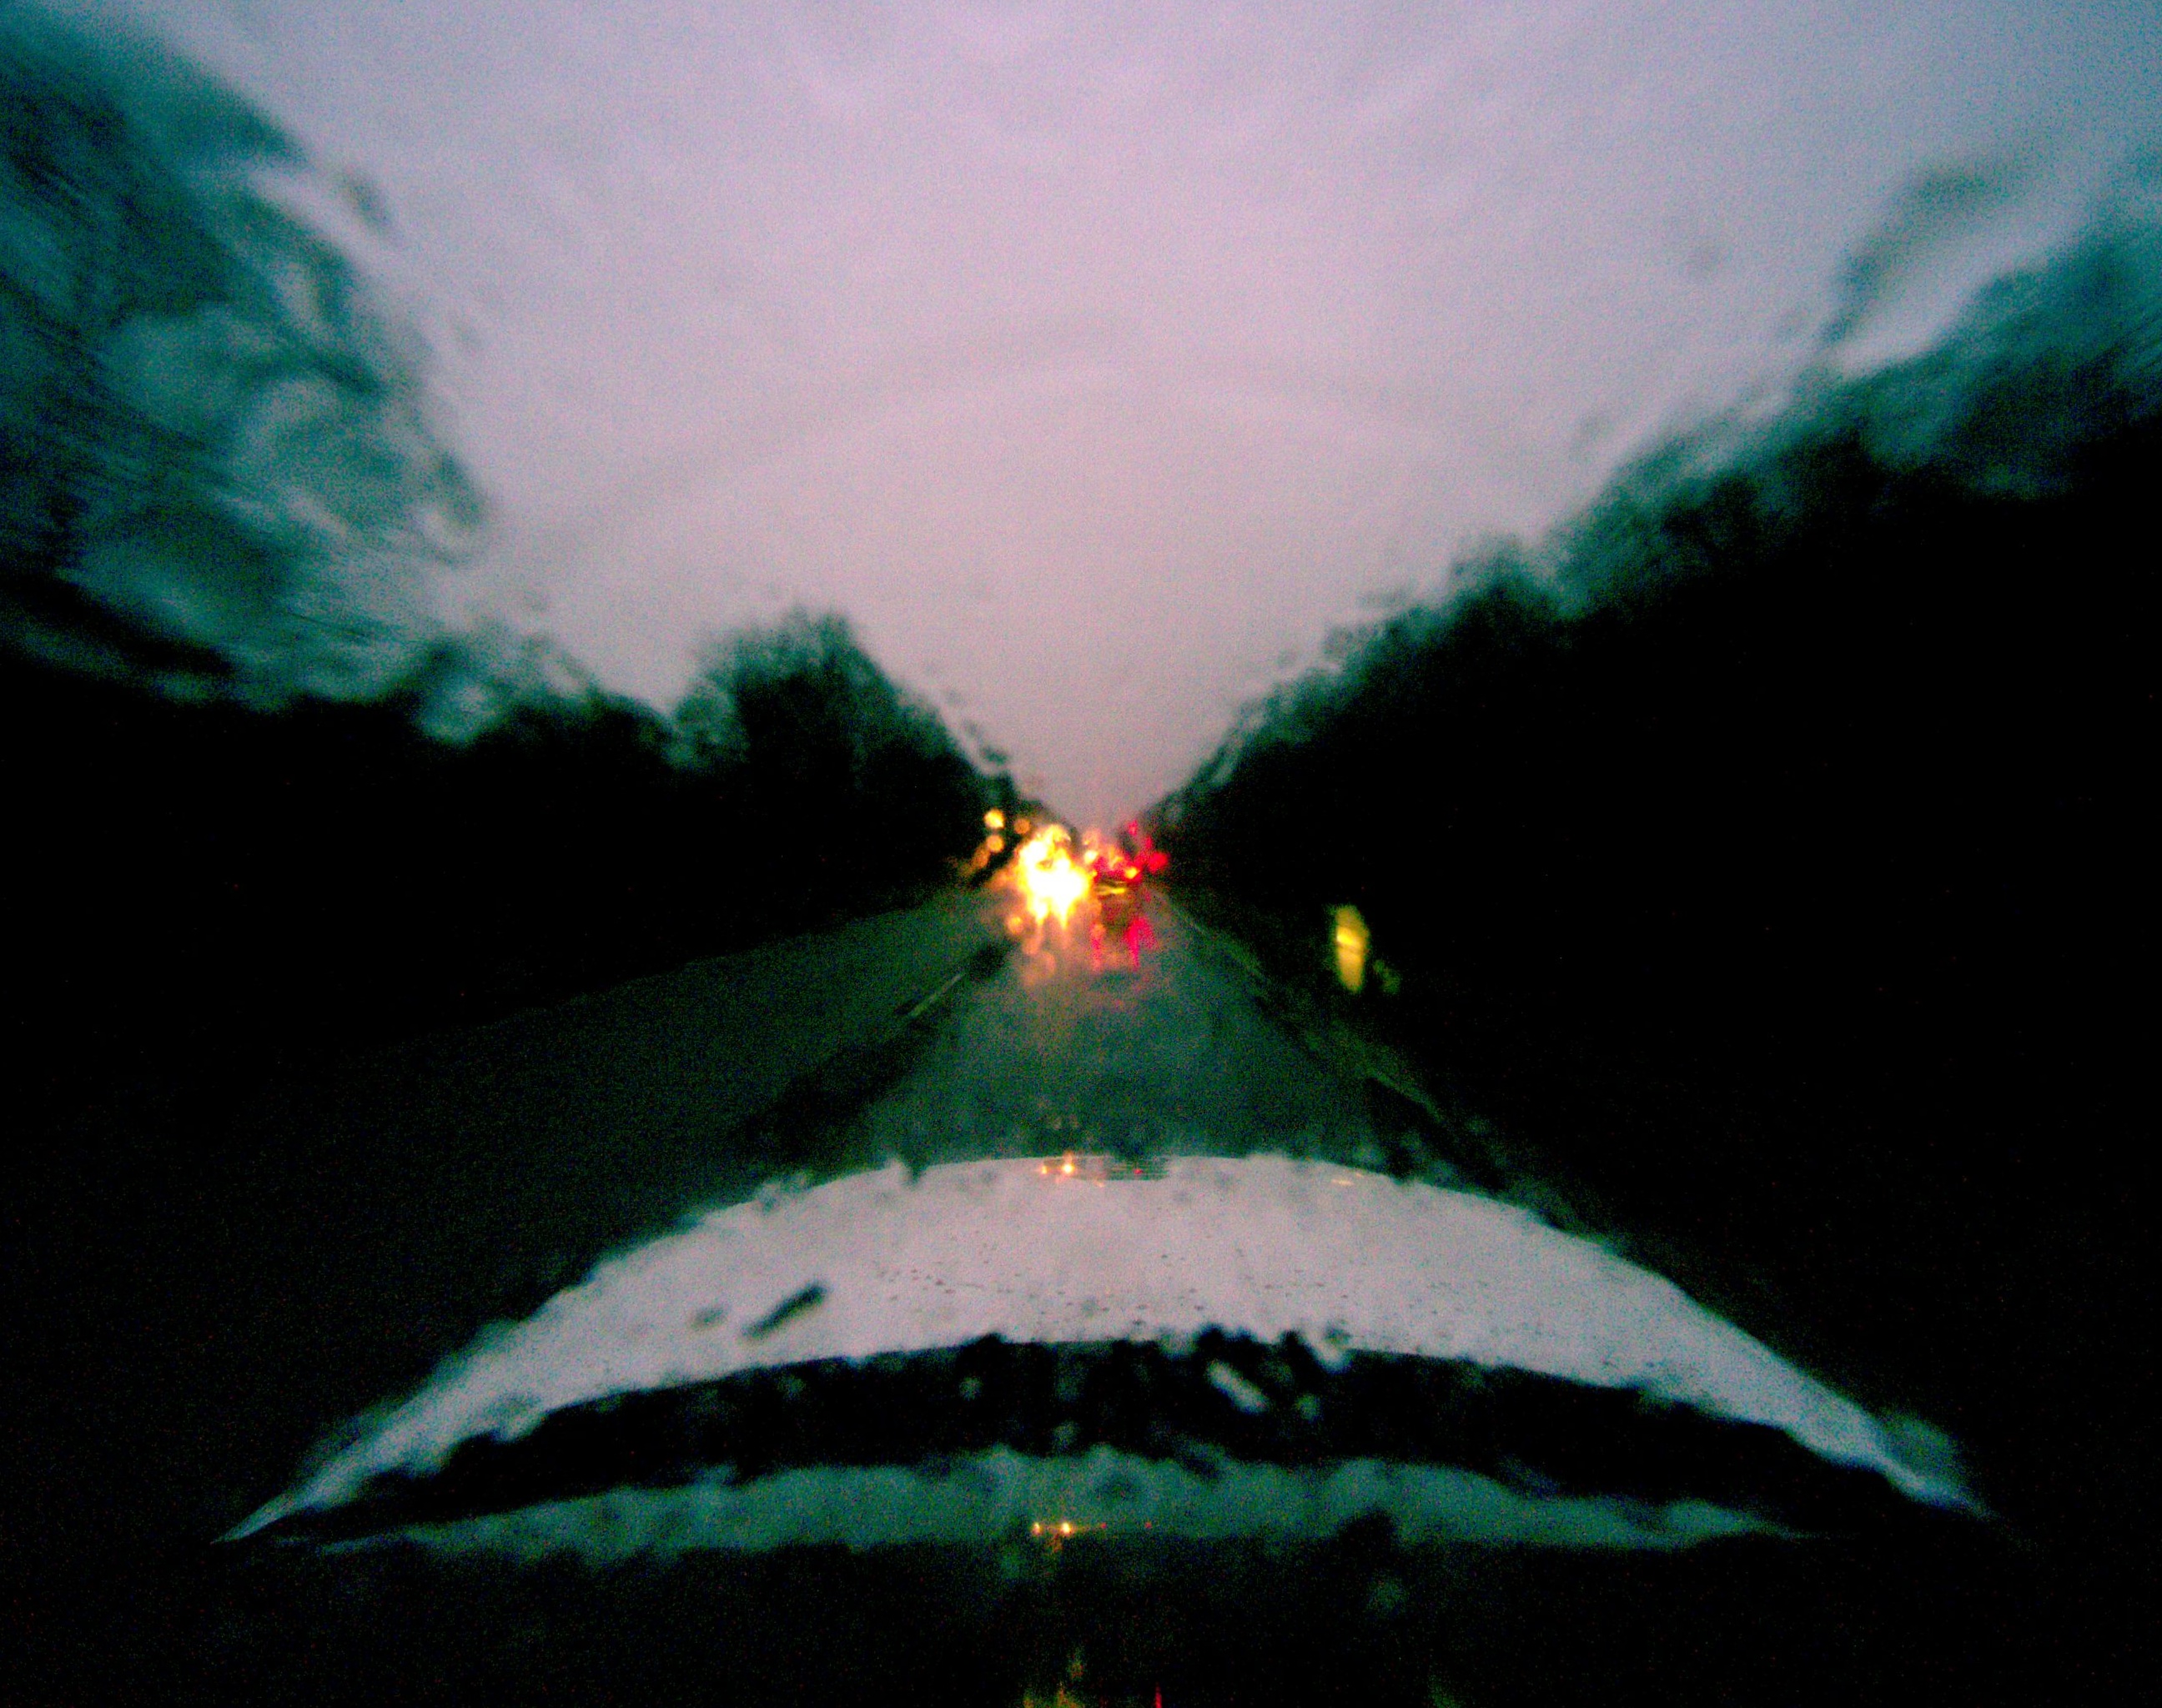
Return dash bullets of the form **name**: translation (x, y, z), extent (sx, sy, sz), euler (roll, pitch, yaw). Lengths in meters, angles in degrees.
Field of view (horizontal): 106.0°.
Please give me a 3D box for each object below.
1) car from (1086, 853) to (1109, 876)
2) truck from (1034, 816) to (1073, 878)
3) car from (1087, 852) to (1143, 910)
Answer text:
- **car**: translation (1.330, 0.827, 64.953), extent (1.727, 1.779, 4.001), euler (-1, 0, 1)
- **truck**: translation (-2.025, -0.494, 61.908), extent (2.632, 4.416, 5.555), euler (-1, 0, 1)
- **car**: translation (1.075, 0.803, 25.654), extent (1.641, 1.672, 3.516), euler (-1, 0, 2)
